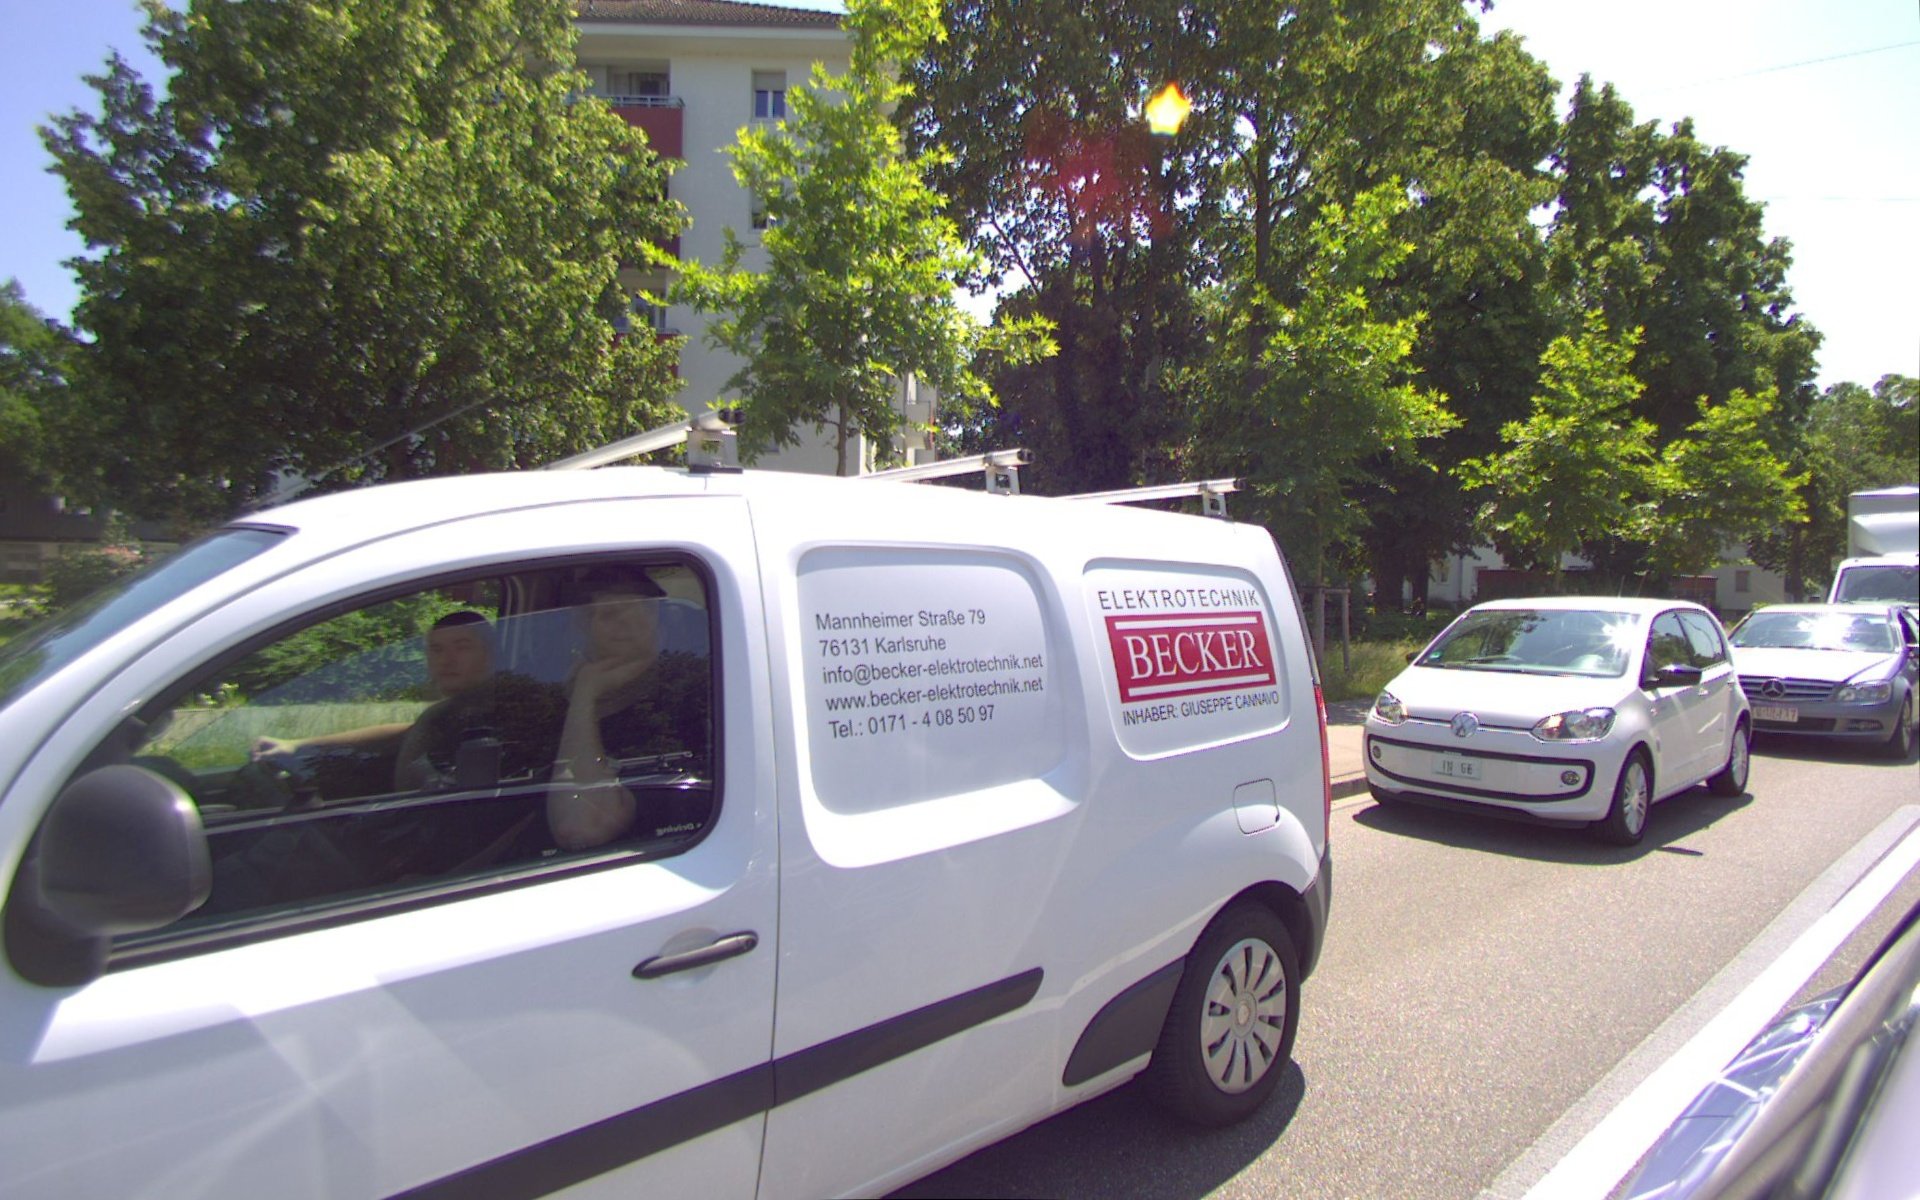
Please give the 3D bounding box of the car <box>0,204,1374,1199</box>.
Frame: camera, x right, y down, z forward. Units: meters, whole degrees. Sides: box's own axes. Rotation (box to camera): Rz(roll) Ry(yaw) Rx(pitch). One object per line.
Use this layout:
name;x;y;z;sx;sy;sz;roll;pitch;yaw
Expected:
car;-0.992;0.455;2.542;4.370;1.849;1.997;0;1;-41

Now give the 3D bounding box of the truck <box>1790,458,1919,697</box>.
truck;16.517;-0.334;16.981;7.778;3.387;2.434;0;1;-39

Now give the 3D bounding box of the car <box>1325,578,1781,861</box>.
car;4.401;0.623;7.295;3.705;1.497;1.729;0;1;-41

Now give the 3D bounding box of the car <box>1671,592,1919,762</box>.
car;9.234;0.656;10.746;4.016;1.426;1.839;0;1;-41
